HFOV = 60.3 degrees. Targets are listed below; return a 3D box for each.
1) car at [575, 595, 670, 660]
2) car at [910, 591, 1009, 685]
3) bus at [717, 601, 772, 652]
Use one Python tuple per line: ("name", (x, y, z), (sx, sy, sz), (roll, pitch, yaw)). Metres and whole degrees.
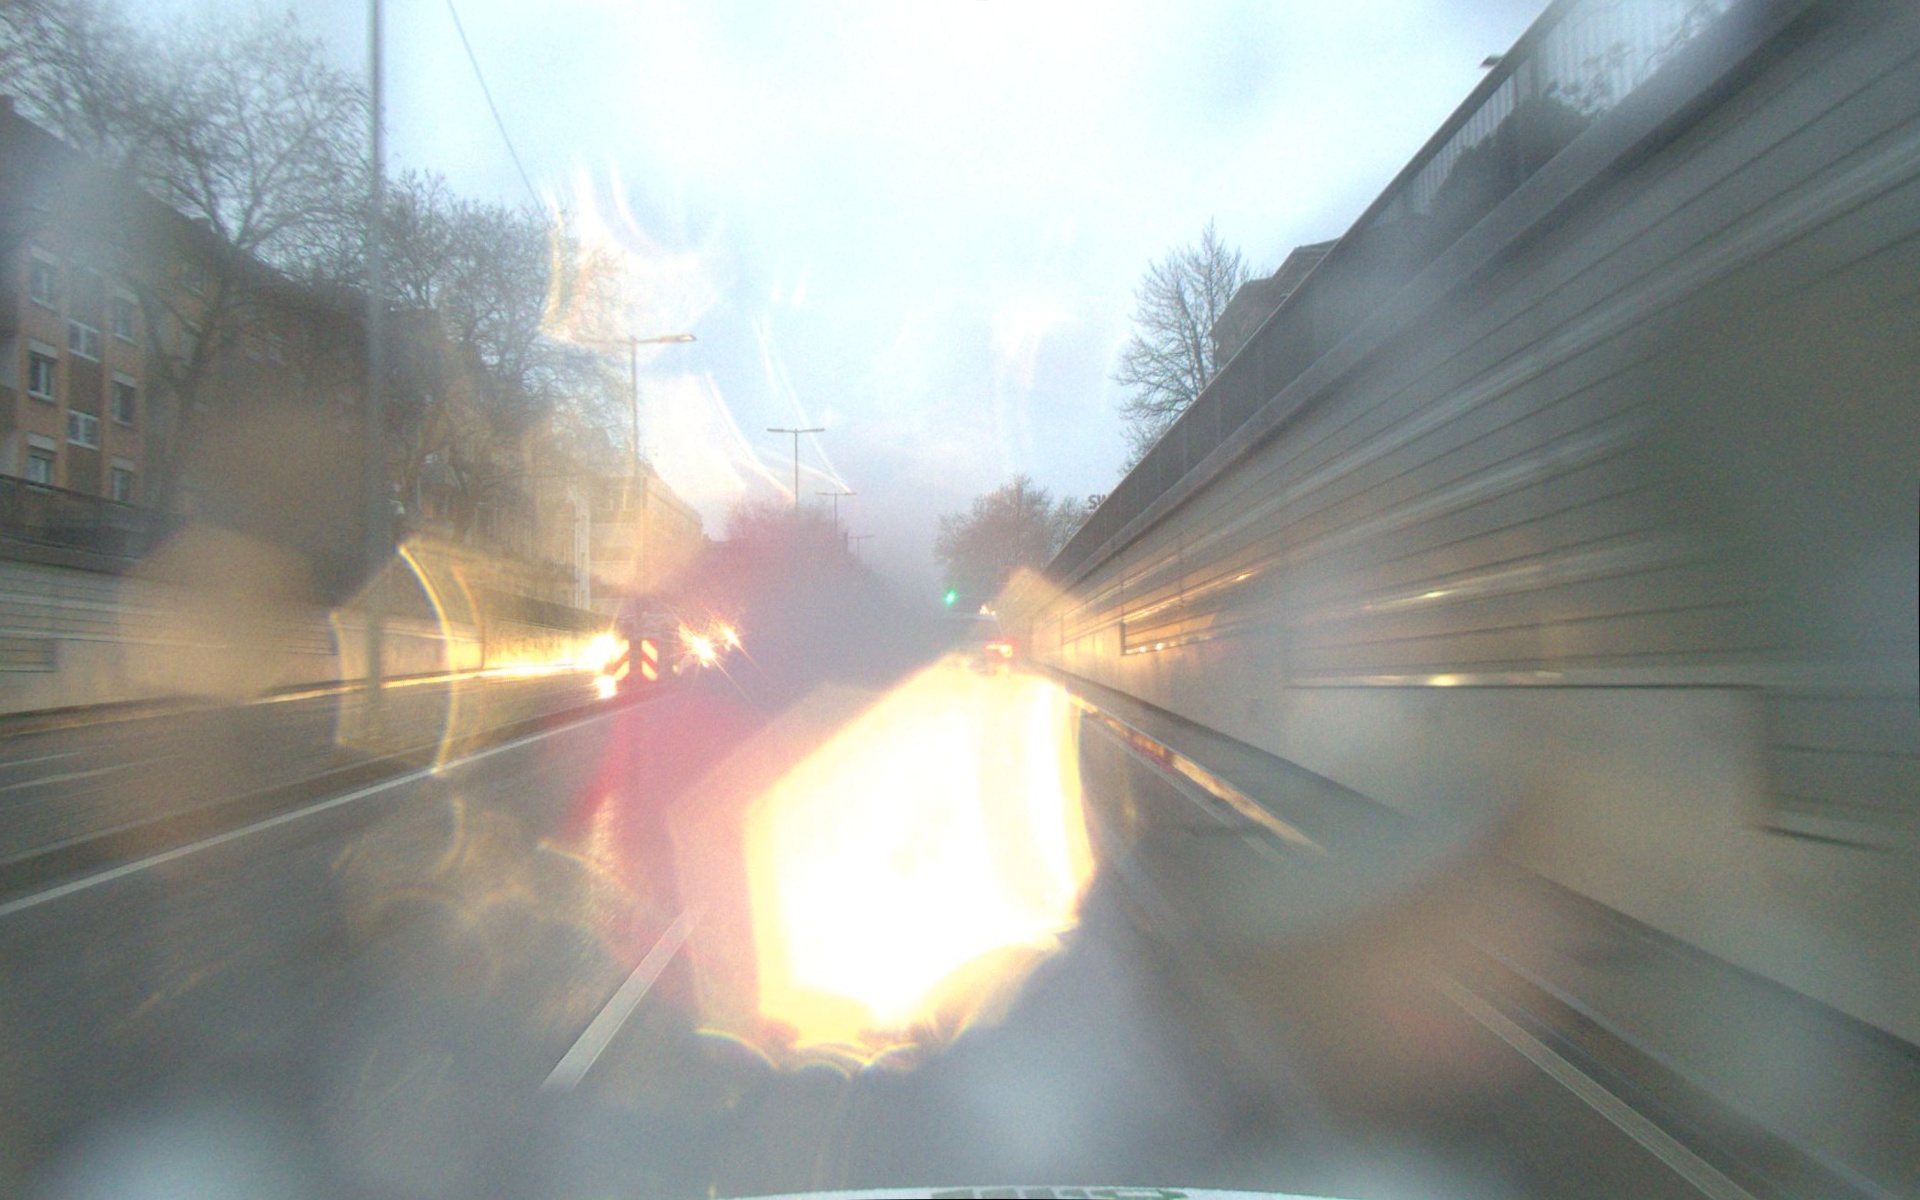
("car", (-9.118, 0.713, 44.917), (1.749, 1.620, 3.841), (-3, 0, 0))
("car", (-0.033, 0.638, 26.779), (1.500, 1.422, 3.432), (0, -2, -1))
("bus", (-9.132, 1.130, 70.512), (1.640, 2.000, 5.173), (-4, -1, -1))
